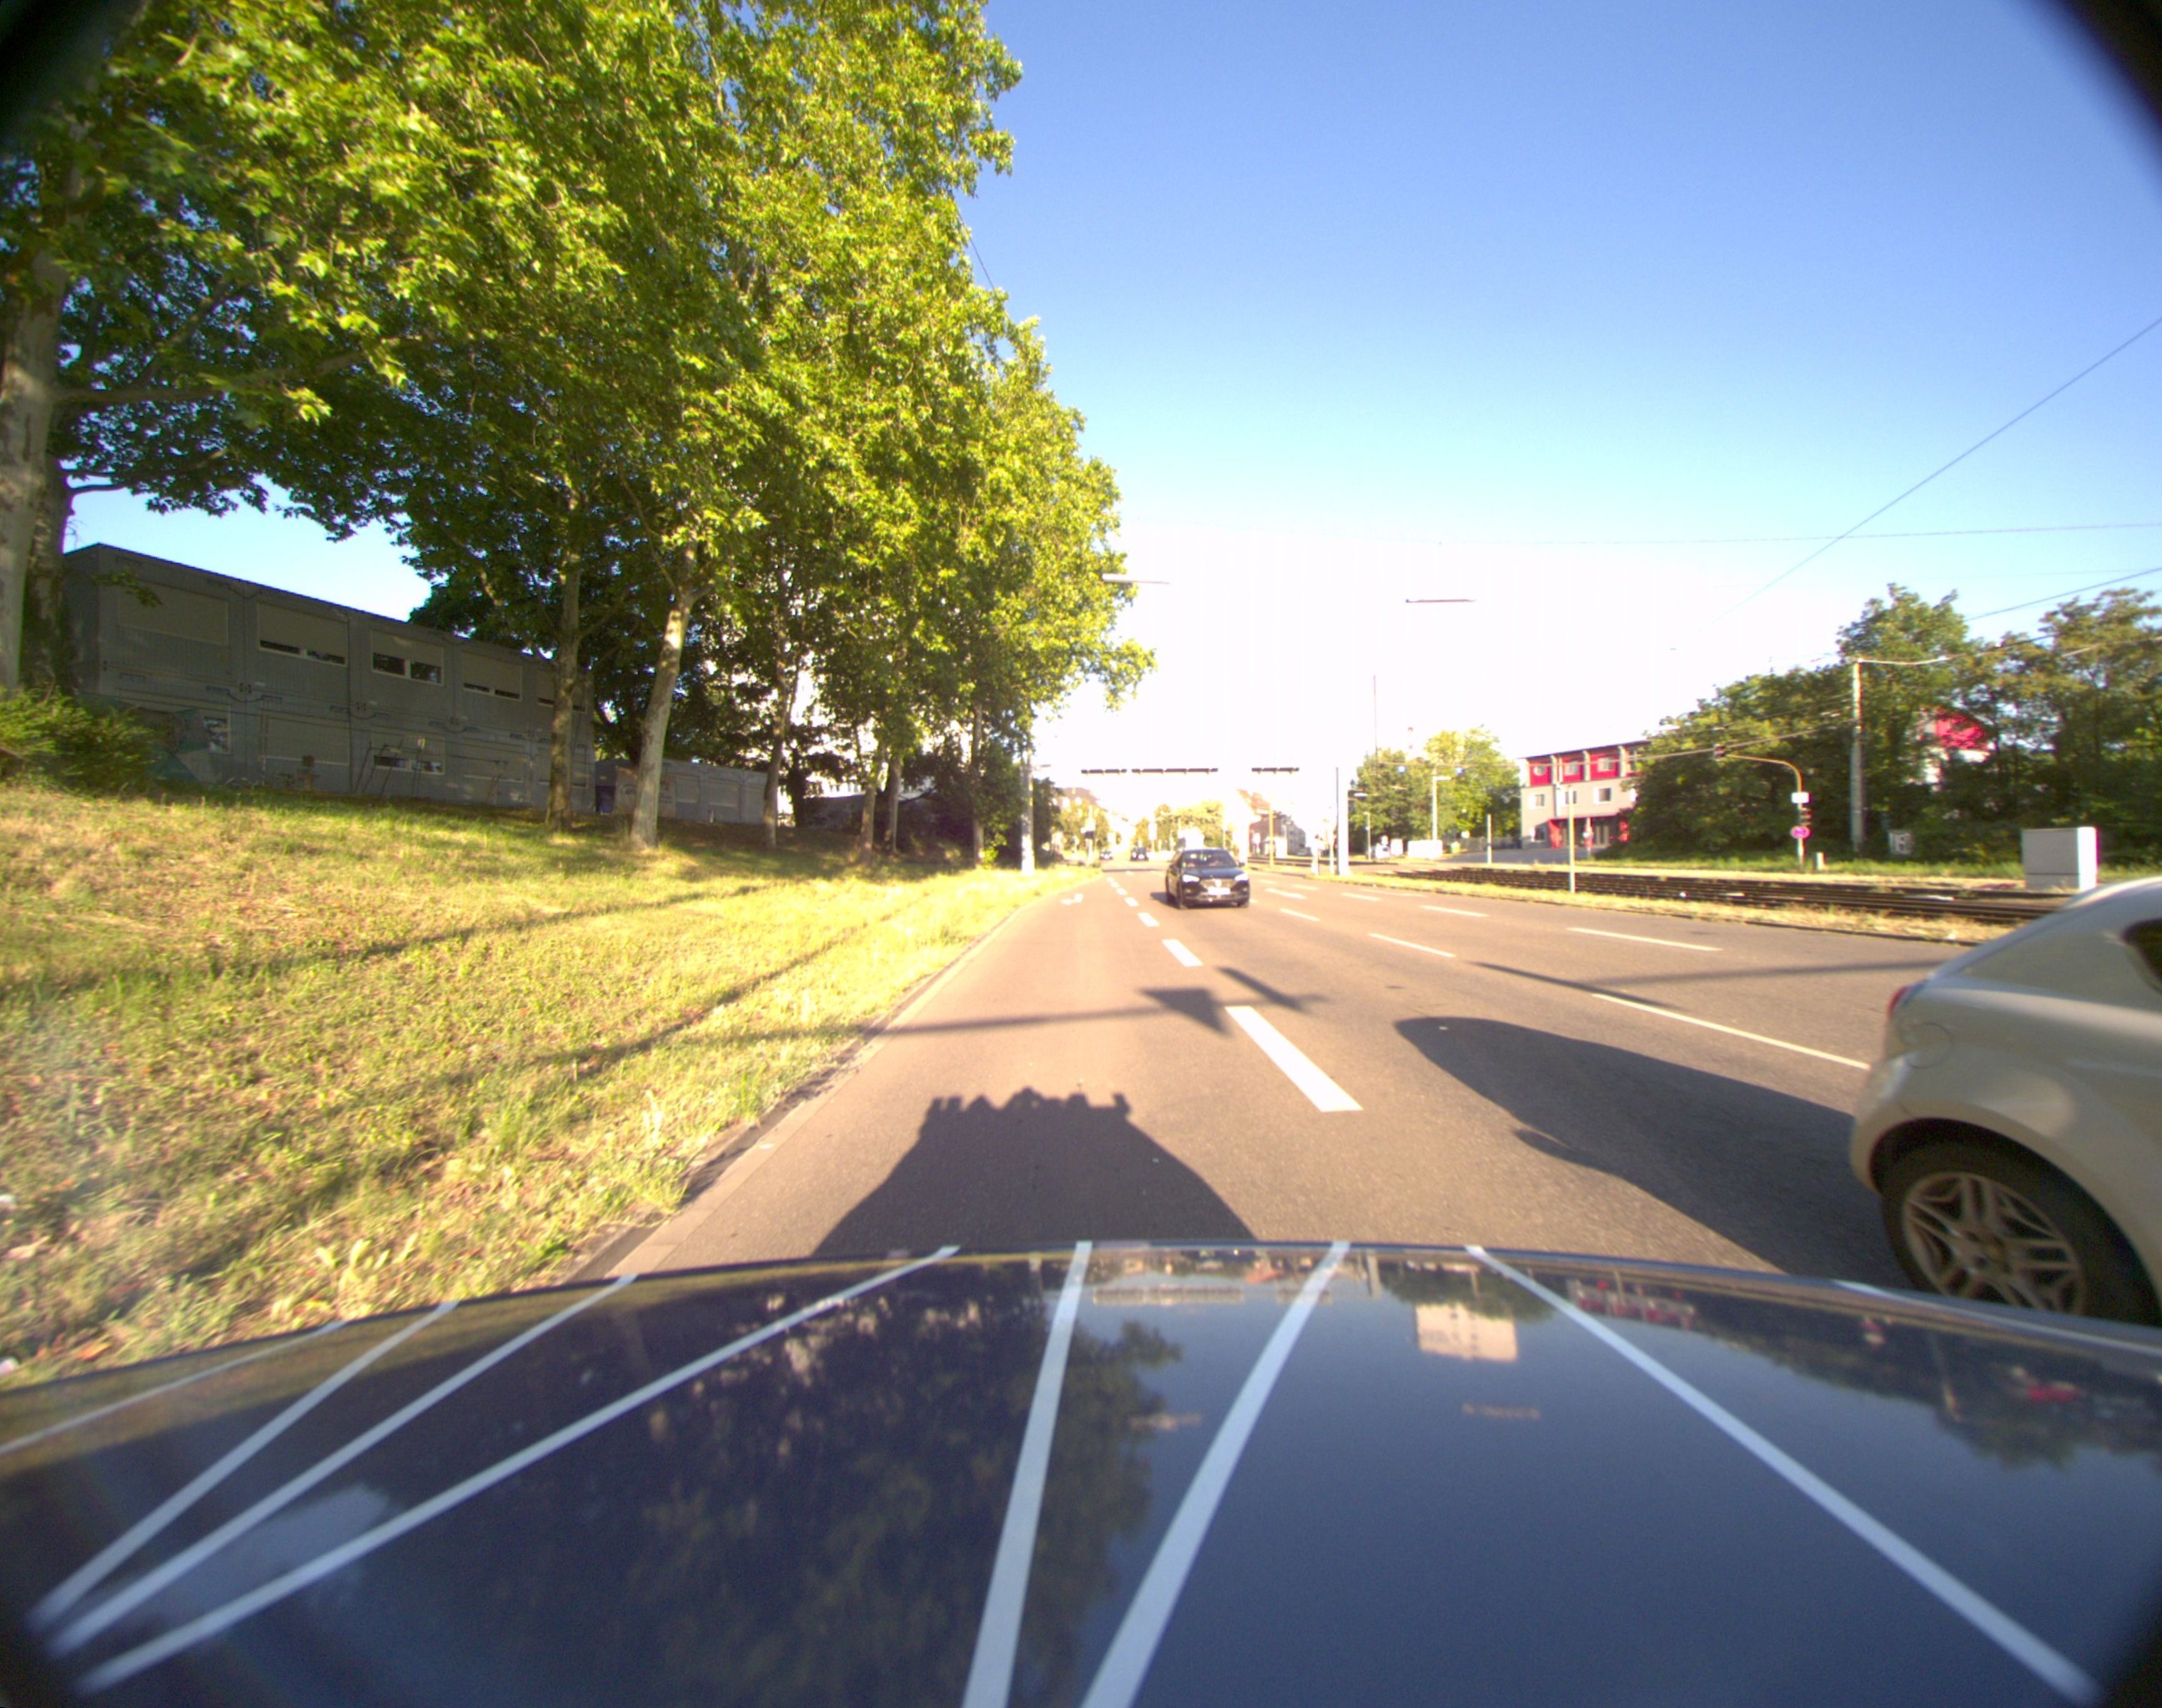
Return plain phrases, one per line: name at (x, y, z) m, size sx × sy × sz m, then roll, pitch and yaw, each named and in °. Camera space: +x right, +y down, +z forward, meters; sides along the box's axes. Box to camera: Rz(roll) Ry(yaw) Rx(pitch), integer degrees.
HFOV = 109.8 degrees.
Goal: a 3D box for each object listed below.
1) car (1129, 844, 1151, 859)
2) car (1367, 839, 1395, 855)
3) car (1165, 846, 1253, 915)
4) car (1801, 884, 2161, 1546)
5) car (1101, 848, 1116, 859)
car at (6.657, -0.298, 85.992) m, size 1.906 × 1.652 × 4.275 m, roll -1°, pitch 0°, yaw -2°
car at (36.050, -0.818, 91.397) m, size 1.938 × 1.777 × 4.260 m, roll -1°, pitch 0°, yaw 3°
car at (3.480, 0.644, 21.420) m, size 1.818 × 1.670 × 4.623 m, roll -1°, pitch 1°, yaw 2°
car at (3.395, 0.852, 0.649) m, size 1.741 × 1.496 × 4.000 m, roll -1°, pitch 0°, yaw -1°
car at (3.654, -0.074, 100.902) m, size 1.741 × 1.429 × 3.999 m, roll -2°, pitch 0°, yaw -1°
